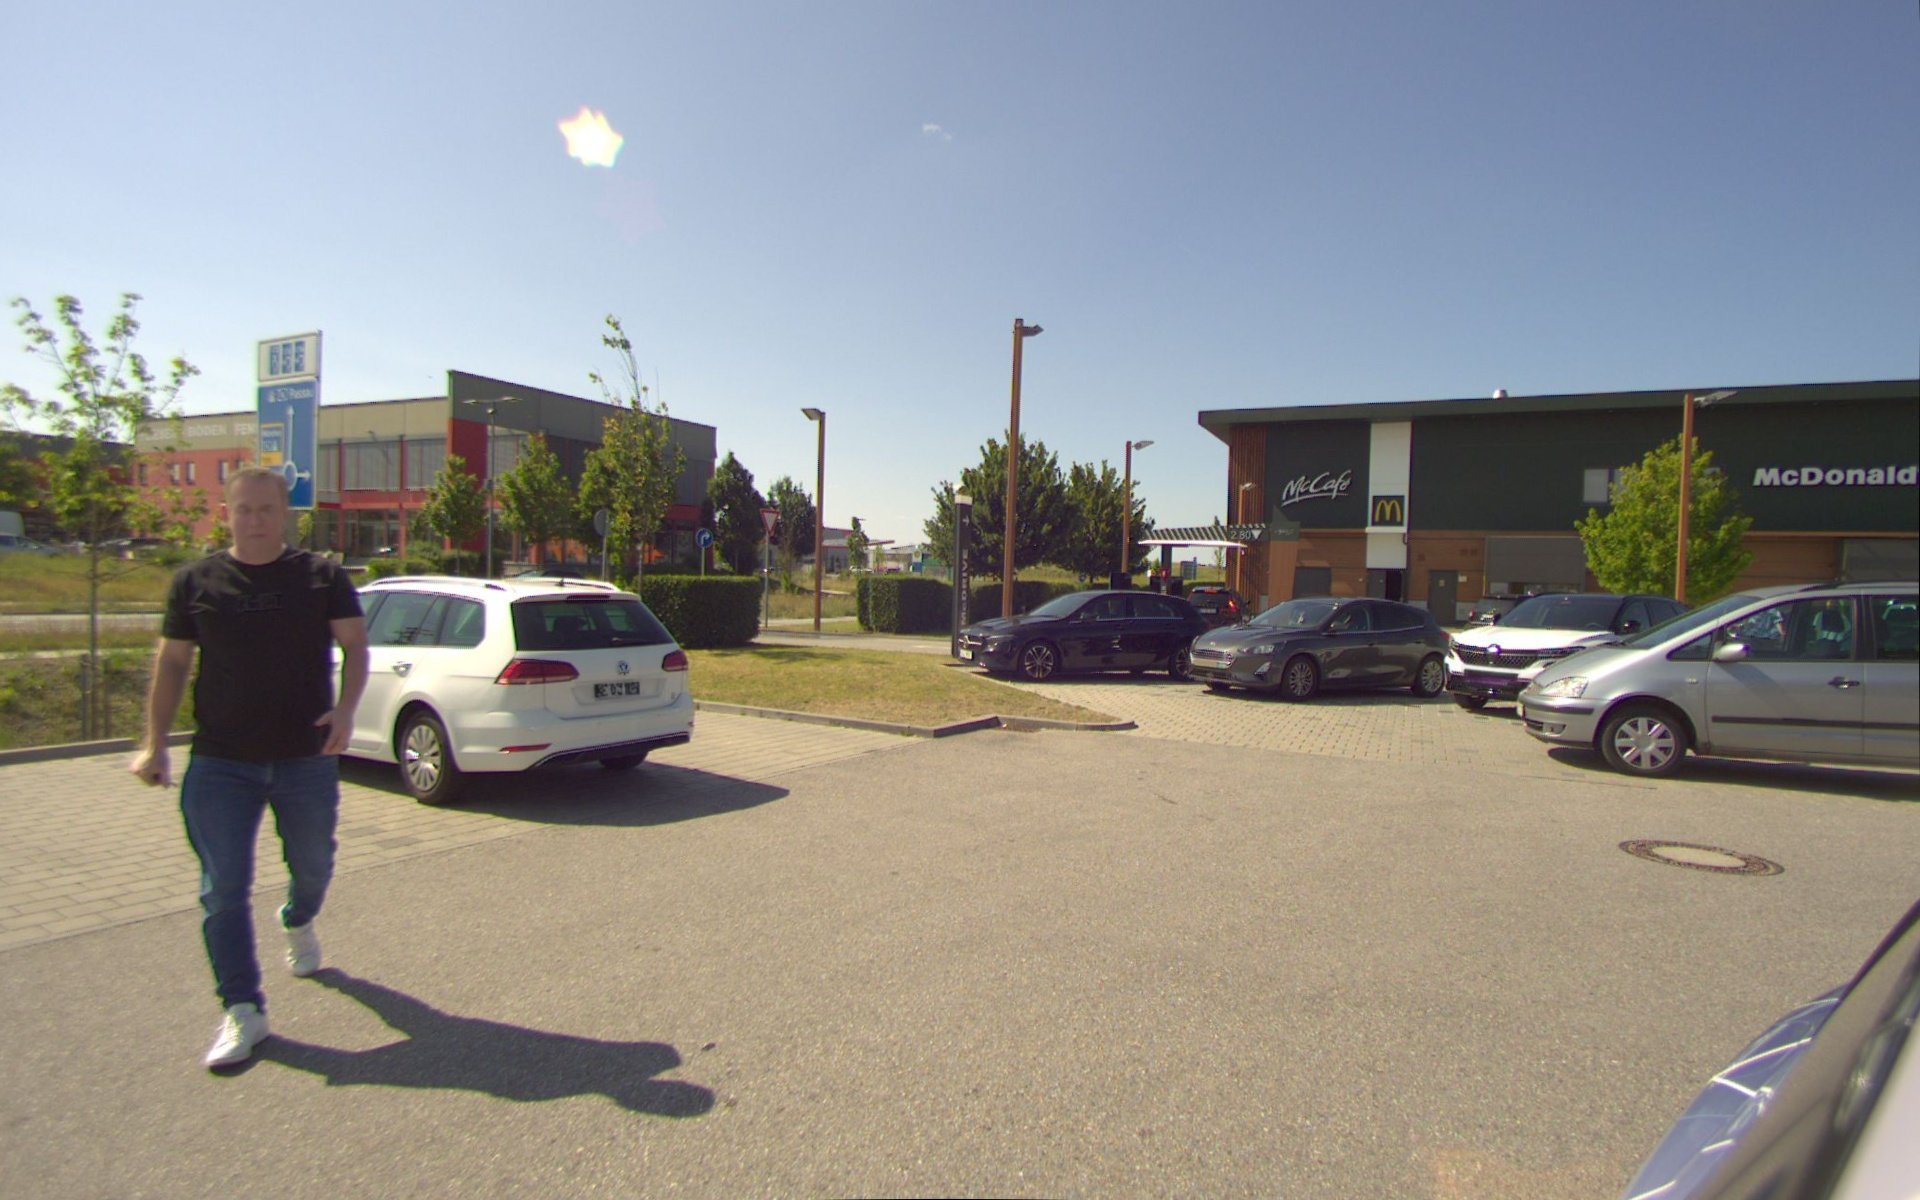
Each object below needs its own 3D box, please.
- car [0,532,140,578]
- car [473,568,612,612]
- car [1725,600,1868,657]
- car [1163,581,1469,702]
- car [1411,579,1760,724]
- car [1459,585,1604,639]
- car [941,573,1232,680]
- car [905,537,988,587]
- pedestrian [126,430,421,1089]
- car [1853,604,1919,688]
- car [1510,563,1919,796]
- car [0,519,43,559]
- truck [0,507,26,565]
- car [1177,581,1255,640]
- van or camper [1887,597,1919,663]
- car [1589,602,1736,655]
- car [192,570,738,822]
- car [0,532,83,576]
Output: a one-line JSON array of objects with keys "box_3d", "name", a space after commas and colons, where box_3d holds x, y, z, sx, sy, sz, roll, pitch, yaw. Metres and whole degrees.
[{"box_3d": [-39.783, -1.979, 45.324, 1.935, 1.879, 4.367, 2, 1, 25], "name": "car"}, {"box_3d": [-16.615, -0.372, 40.491, 1.992, 1.645, 4.735, 2, 1, 41], "name": "car"}, {"box_3d": [24.628, 0.834, 29.792, 3.868, 1.533, 1.717, 1, 1, -25], "name": "car"}, {"box_3d": [5.298, 0.572, 15.008, 4.121, 1.545, 1.978, 2, 1, -28], "name": "car"}, {"box_3d": [8.379, 0.638, 13.575, 4.119, 1.675, 1.979, 2, 1, -24], "name": "car"}, {"box_3d": [18.817, 0.393, 33.301, 4.375, 1.622, 1.966, 2, 1, -26], "name": "car"}, {"box_3d": [2.039, 0.424, 16.532, 4.241, 1.545, 1.980, 2, 1, -21], "name": "car"}, {"box_3d": [-0.590, -1.820, 49.228, 1.980, 2.224, 5.061, 2, 1, 26], "name": "car"}, {"box_3d": [-2.239, 0.437, 3.423, 0.711, 1.832, 0.996, 0, 0, -29], "name": "pedestrian"}, {"box_3d": [18.638, 0.890, 17.768, 1.675, 1.511, 4.124, 1, 1, -19], "name": "car"}, {"box_3d": [7.550, 0.620, 8.848, 4.634, 1.770, 1.818, 2, 1, 25], "name": "car"}, {"box_3d": [-47.001, -2.990, 48.317, 1.935, 1.879, 4.367, 2, 1, 25], "name": "car"}, {"box_3d": [-49.750, -3.261, 48.579, 1.935, 2.849, 6.998, 2, 1, 24], "name": "truck"}, {"box_3d": [8.354, 0.279, 32.726, 1.973, 1.712, 4.208, 3, 1, 20], "name": "car"}, {"box_3d": [28.231, 0.893, 28.398, 3.944, 1.797, 1.715, 2, 1, -22], "name": "van or camper"}, {"box_3d": [21.905, 0.887, 31.538, 4.376, 1.484, 1.965, 2, 1, -28], "name": "car"}, {"box_3d": [-3.999, 0.527, 7.945, 4.447, 1.487, 1.812, 1, 1, 32], "name": "car"}, {"box_3d": [-42.685, -2.081, 45.629, 1.935, 1.879, 4.367, 2, 1, 25], "name": "car"}]
